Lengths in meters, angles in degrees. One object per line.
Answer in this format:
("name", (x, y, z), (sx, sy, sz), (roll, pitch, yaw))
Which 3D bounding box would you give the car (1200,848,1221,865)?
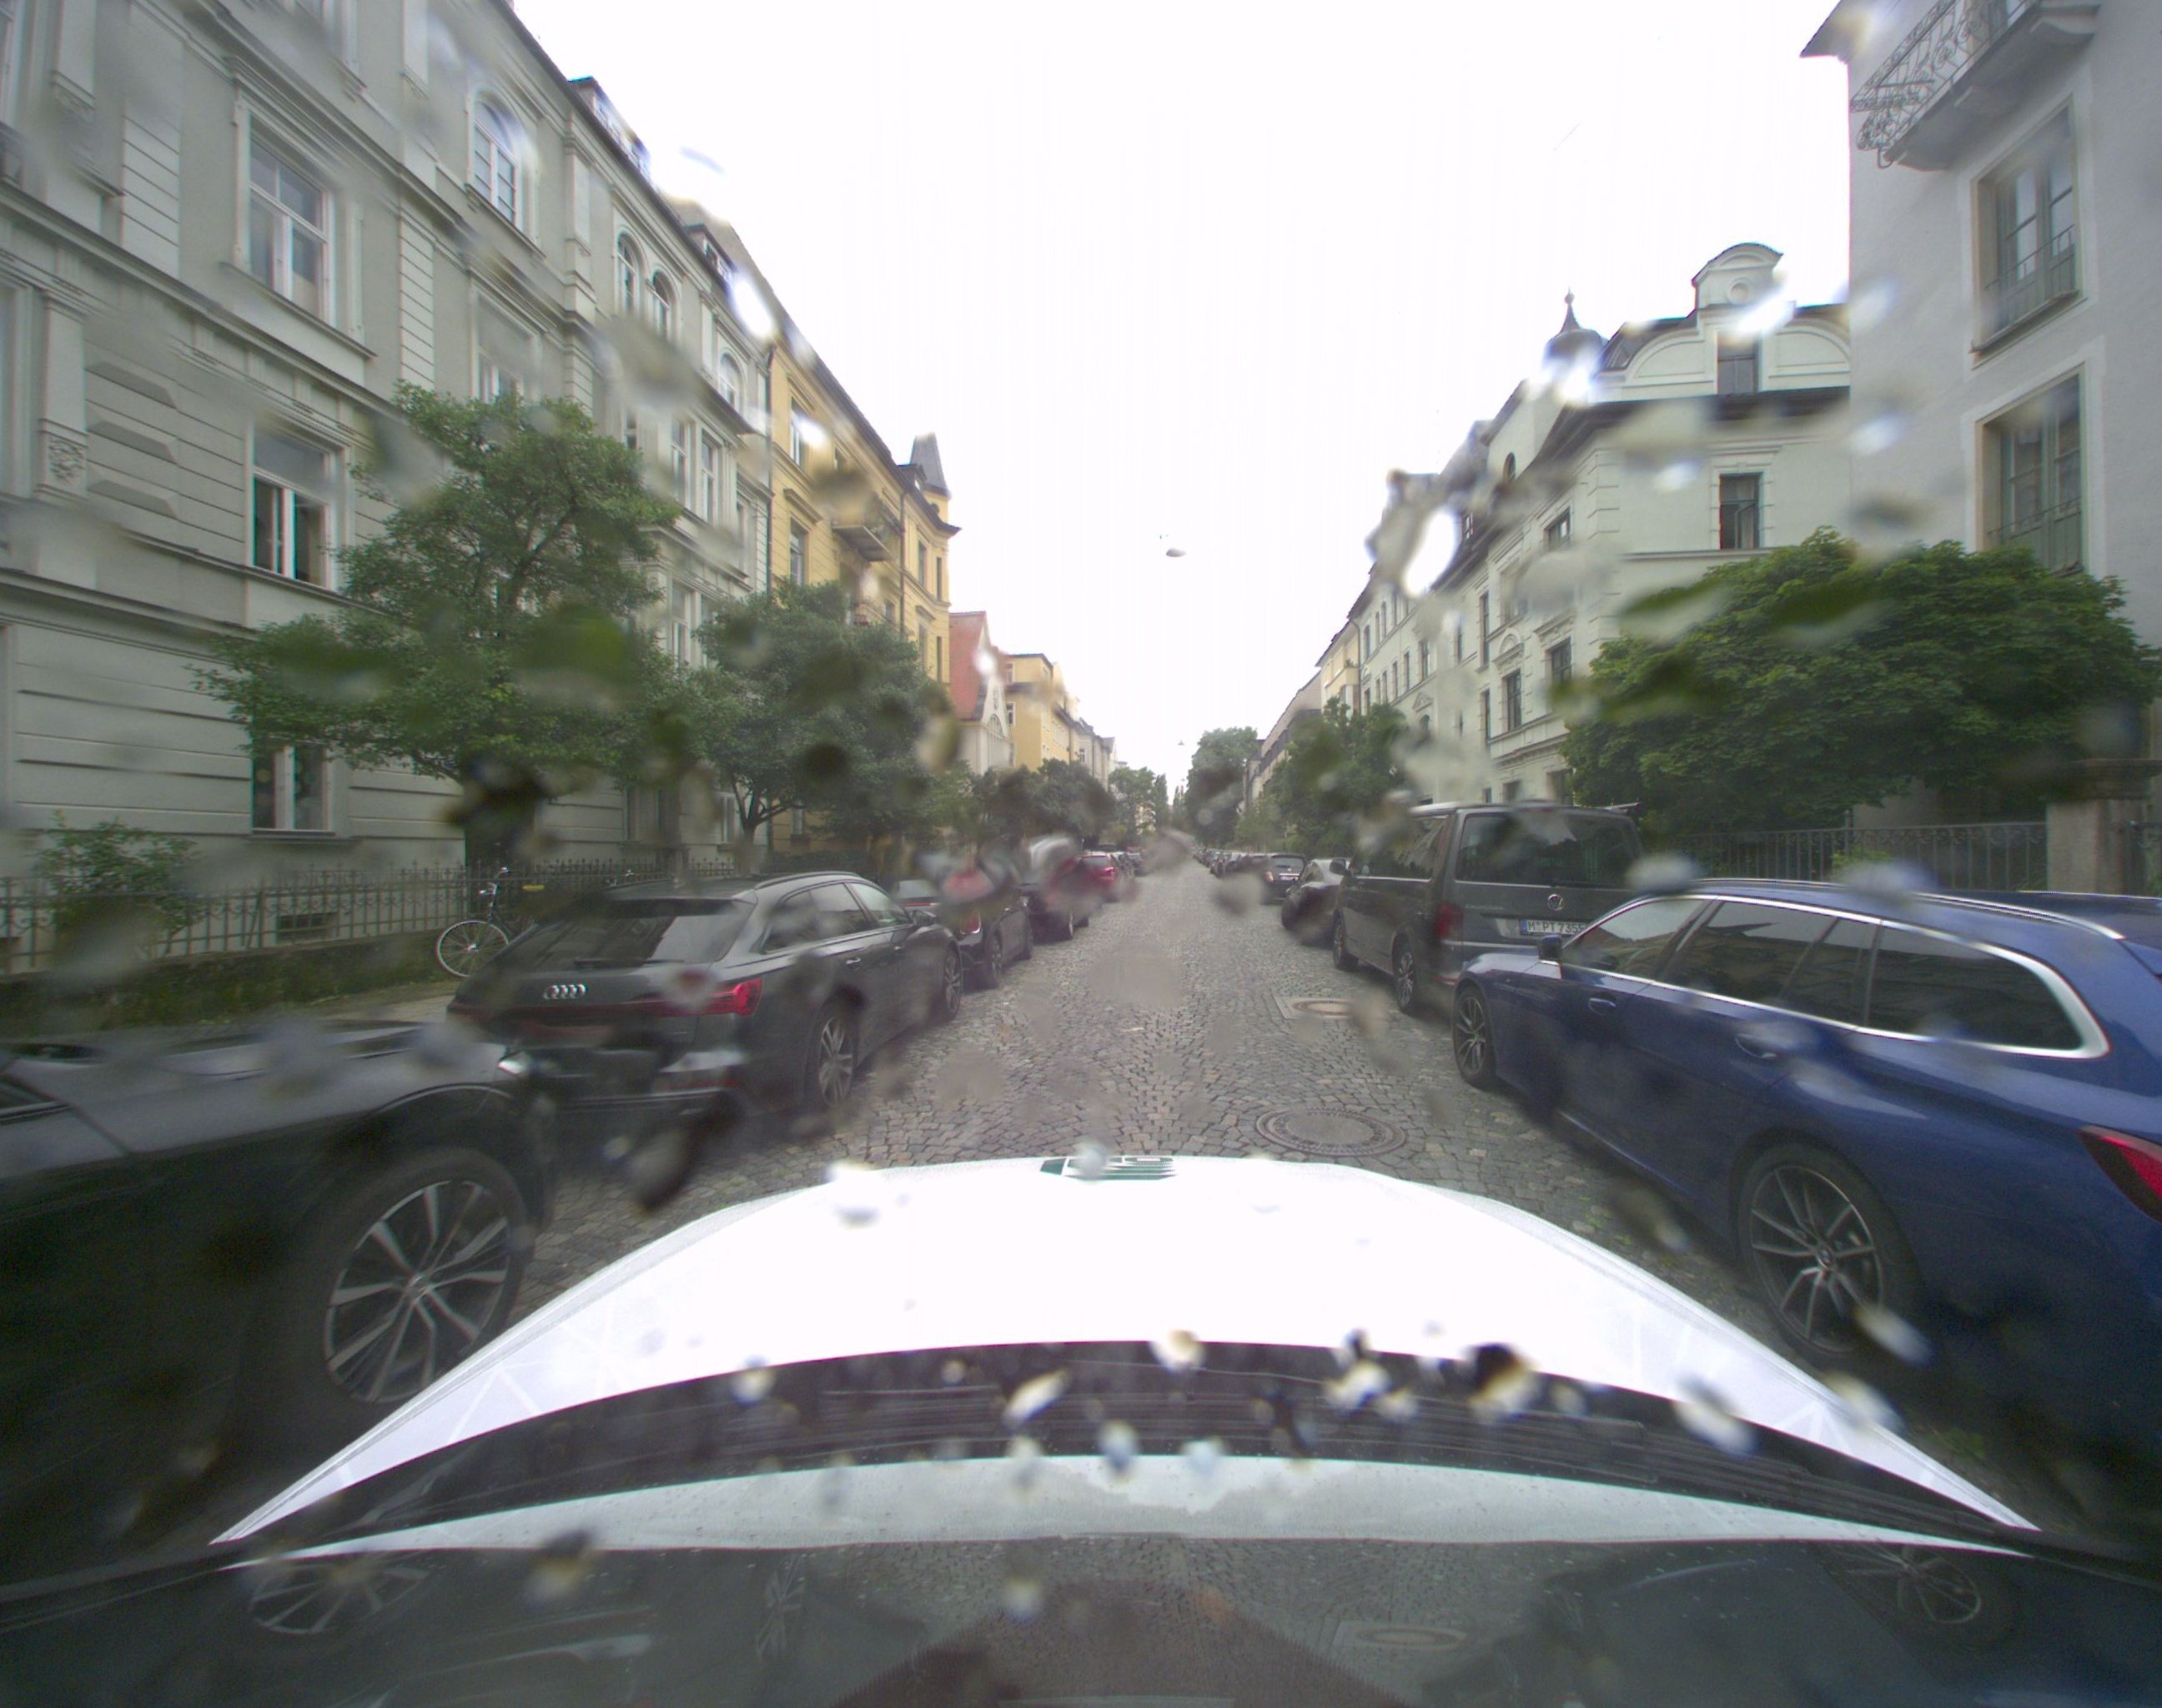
("car", (13.515, 0.258, 85.017), (1.912, 1.635, 3.746), (-4, -1, 6))

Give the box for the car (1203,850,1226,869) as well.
("car", (12.588, 0.522, 77.108), (1.912, 1.635, 3.746), (-4, -1, 6))

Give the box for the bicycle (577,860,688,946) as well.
("bicycle", (-6.453, 0.664, 11.832), (0.361, 1.132, 1.891), (1, 0, 7))

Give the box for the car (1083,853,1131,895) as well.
("car", (1.016, 0.726, 30.863), (1.423, 1.460, 2.657), (-4, -1, 9))

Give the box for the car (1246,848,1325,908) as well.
("car", (6.128, 0.677, 24.826), (1.911, 1.635, 4.056), (2, 0, 8))

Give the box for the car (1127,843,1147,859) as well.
("car", (6.223, -0.329, 90.552), (1.912, 1.635, 3.746), (-4, -1, 6))

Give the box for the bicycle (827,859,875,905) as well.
("bicycle", (-5.493, 0.646, 19.566), (0.416, 1.027, 1.768), (1, 0, 8))

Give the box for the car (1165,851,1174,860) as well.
("car", (21.052, 0.285, 193.472), (1.984, 2.014, 4.004), (0, -1, 4))

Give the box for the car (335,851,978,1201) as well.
("car", (-2.239, 0.766, 6.207), (1.796, 1.504, 5.184), (-2, 0, 5))

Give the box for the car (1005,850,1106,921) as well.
("car", (-0.548, 0.742, 20.965), (1.912, 1.546, 4.007), (-4, -1, 7))

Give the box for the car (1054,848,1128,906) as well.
("car", (0.405, 0.704, 26.395), (1.912, 1.635, 3.813), (-4, -1, 7))

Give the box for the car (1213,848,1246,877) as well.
("car", (9.078, 0.536, 50.012), (1.652, 1.635, 3.453), (-4, -1, 6))

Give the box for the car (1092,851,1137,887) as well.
("car", (1.593, 0.667, 37.348), (1.650, 1.534, 3.493), (-1, 0, 9))

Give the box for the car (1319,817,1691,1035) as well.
("car", (4.026, 0.541, 8.831), (2.011, 1.690, 4.860), (0, 0, 7))

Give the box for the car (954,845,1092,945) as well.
("car", (-0.932, 0.697, 15.491), (1.717, 1.540, 4.345), (-4, -1, 7))

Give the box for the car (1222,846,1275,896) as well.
("car", (5.896, 0.575, 28.970), (1.650, 1.635, 3.548), (-1, 0, 9))

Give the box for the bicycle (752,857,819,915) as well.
("bicycle", (-5.953, 0.613, 16.509), (0.368, 1.102, 1.839), (1, 0, 11))

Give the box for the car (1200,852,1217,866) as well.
("car", (15.855, 0.633, 101.484), (1.912, 1.635, 3.746), (-4, -1, 6))

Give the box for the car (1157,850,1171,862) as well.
("car", (11.764, 0.321, 115.550), (1.912, 1.635, 3.746), (-4, -1, 6))

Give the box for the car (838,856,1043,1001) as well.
("car", (-1.642, 0.834, 10.841), (1.695, 1.516, 3.733), (-2, 0, 6))

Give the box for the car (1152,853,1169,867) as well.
("car", (10.196, 0.766, 104.341), (1.912, 1.635, 3.746), (-4, -1, 6))

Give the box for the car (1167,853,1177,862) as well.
("car", (17.926, 0.765, 160.719), (1.912, 1.635, 3.746), (-4, -1, 6))

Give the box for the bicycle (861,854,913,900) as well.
("bicycle", (-5.060, 0.582, 21.370), (0.415, 1.143, 1.773), (1, 0, 19))

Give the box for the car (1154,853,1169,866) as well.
("car", (10.813, 0.694, 109.473), (1.912, 1.635, 3.746), (-4, -1, 6))

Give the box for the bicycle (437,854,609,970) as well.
("bicycle", (-6.603, 0.627, 9.783), (0.498, 1.248, 1.983), (1, 0, 7))

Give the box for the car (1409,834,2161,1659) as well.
("car", (3.208, 0.758, 3.701), (1.919, 1.506, 4.884), (2, 0, 6))

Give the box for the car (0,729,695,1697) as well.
("car", (-2.901, 0.658, 0.950), (1.927, 1.652, 5.063), (-4, -1, 7))

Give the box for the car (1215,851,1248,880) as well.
("car", (8.310, 0.626, 45.037), (1.650, 1.456, 3.457), (-4, -1, 10))

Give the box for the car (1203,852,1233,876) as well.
("car", (9.224, 0.670, 55.077), (1.652, 1.465, 3.453), (-4, -1, 6))

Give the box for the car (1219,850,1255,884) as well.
("car", (7.685, 0.624, 40.007), (1.587, 1.503, 3.272), (-4, -1, 11))

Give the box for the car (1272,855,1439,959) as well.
("car", (4.608, 0.779, 14.417), (1.911, 1.434, 4.812), (2, 0, 8))

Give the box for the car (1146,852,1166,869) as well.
("car", (7.780, 0.670, 84.612), (1.912, 1.635, 3.746), (-4, -1, 6))

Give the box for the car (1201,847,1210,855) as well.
("car", (29.499, -0.660, 192.541), (1.912, 1.635, 3.746), (-4, -1, 6))

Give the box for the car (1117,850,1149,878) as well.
("car", (3.295, 0.613, 51.075), (1.913, 1.635, 3.743), (0, 0, 4))

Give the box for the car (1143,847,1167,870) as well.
("car", (6.511, 0.397, 71.675), (1.912, 1.839, 3.746), (-4, -1, 6))

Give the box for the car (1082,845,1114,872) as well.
("car", (1.132, 0.304, 51.832), (1.770, 1.635, 3.745), (0, 0, 6))
